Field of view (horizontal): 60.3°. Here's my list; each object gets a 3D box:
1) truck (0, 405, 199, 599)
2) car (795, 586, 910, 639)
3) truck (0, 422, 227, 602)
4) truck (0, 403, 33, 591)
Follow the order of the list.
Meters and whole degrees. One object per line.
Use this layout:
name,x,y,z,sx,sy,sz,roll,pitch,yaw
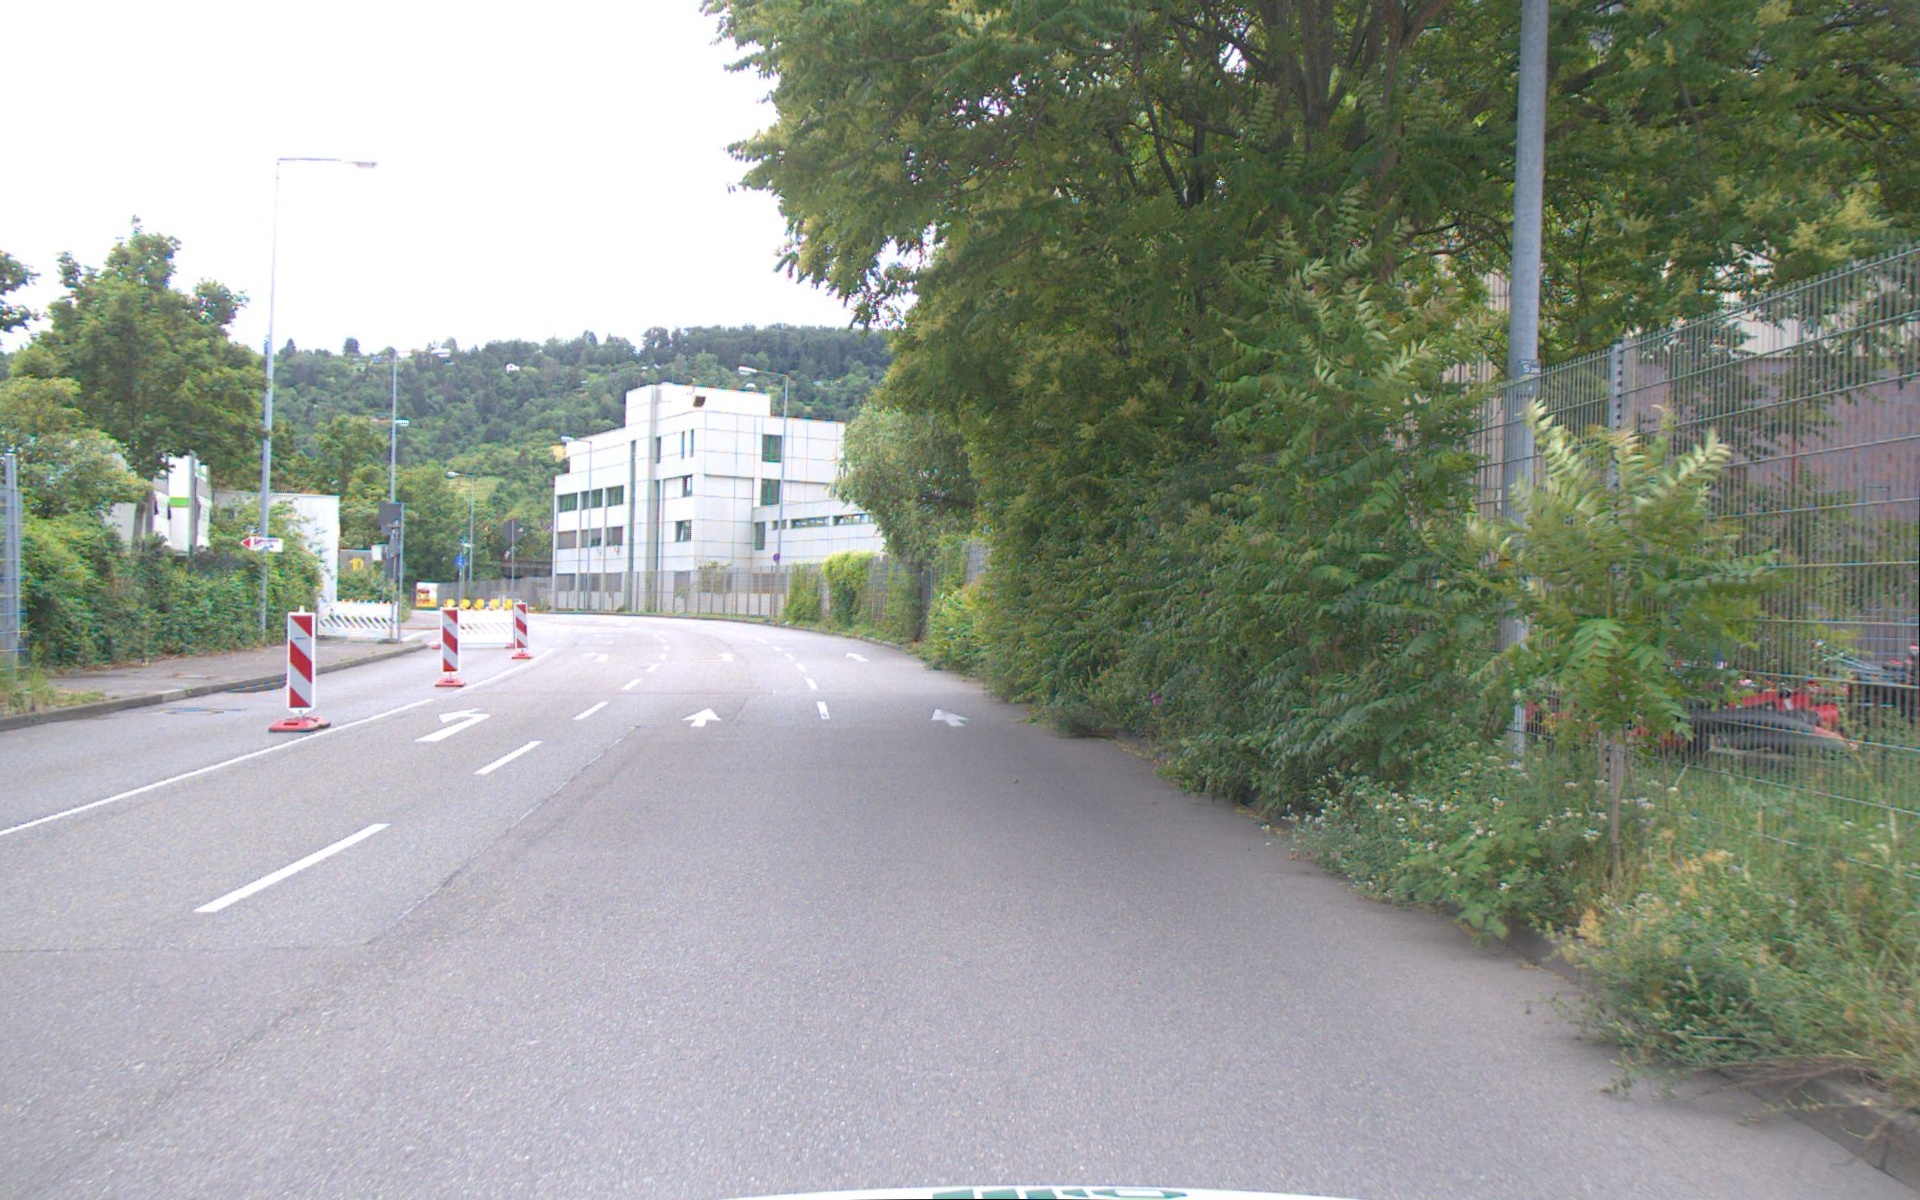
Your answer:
truck,-21.690,-2.187,37.366,7.720,4.061,3.036,2,-2,-19
car,-5.464,0.604,83.506,6.058,2.302,1.989,3,0,41
truck,-23.273,-2.130,40.266,9.466,4.061,3.038,2,-2,-17
truck,-21.032,-1.995,29.375,7.766,3.307,3.018,2,-3,-33
